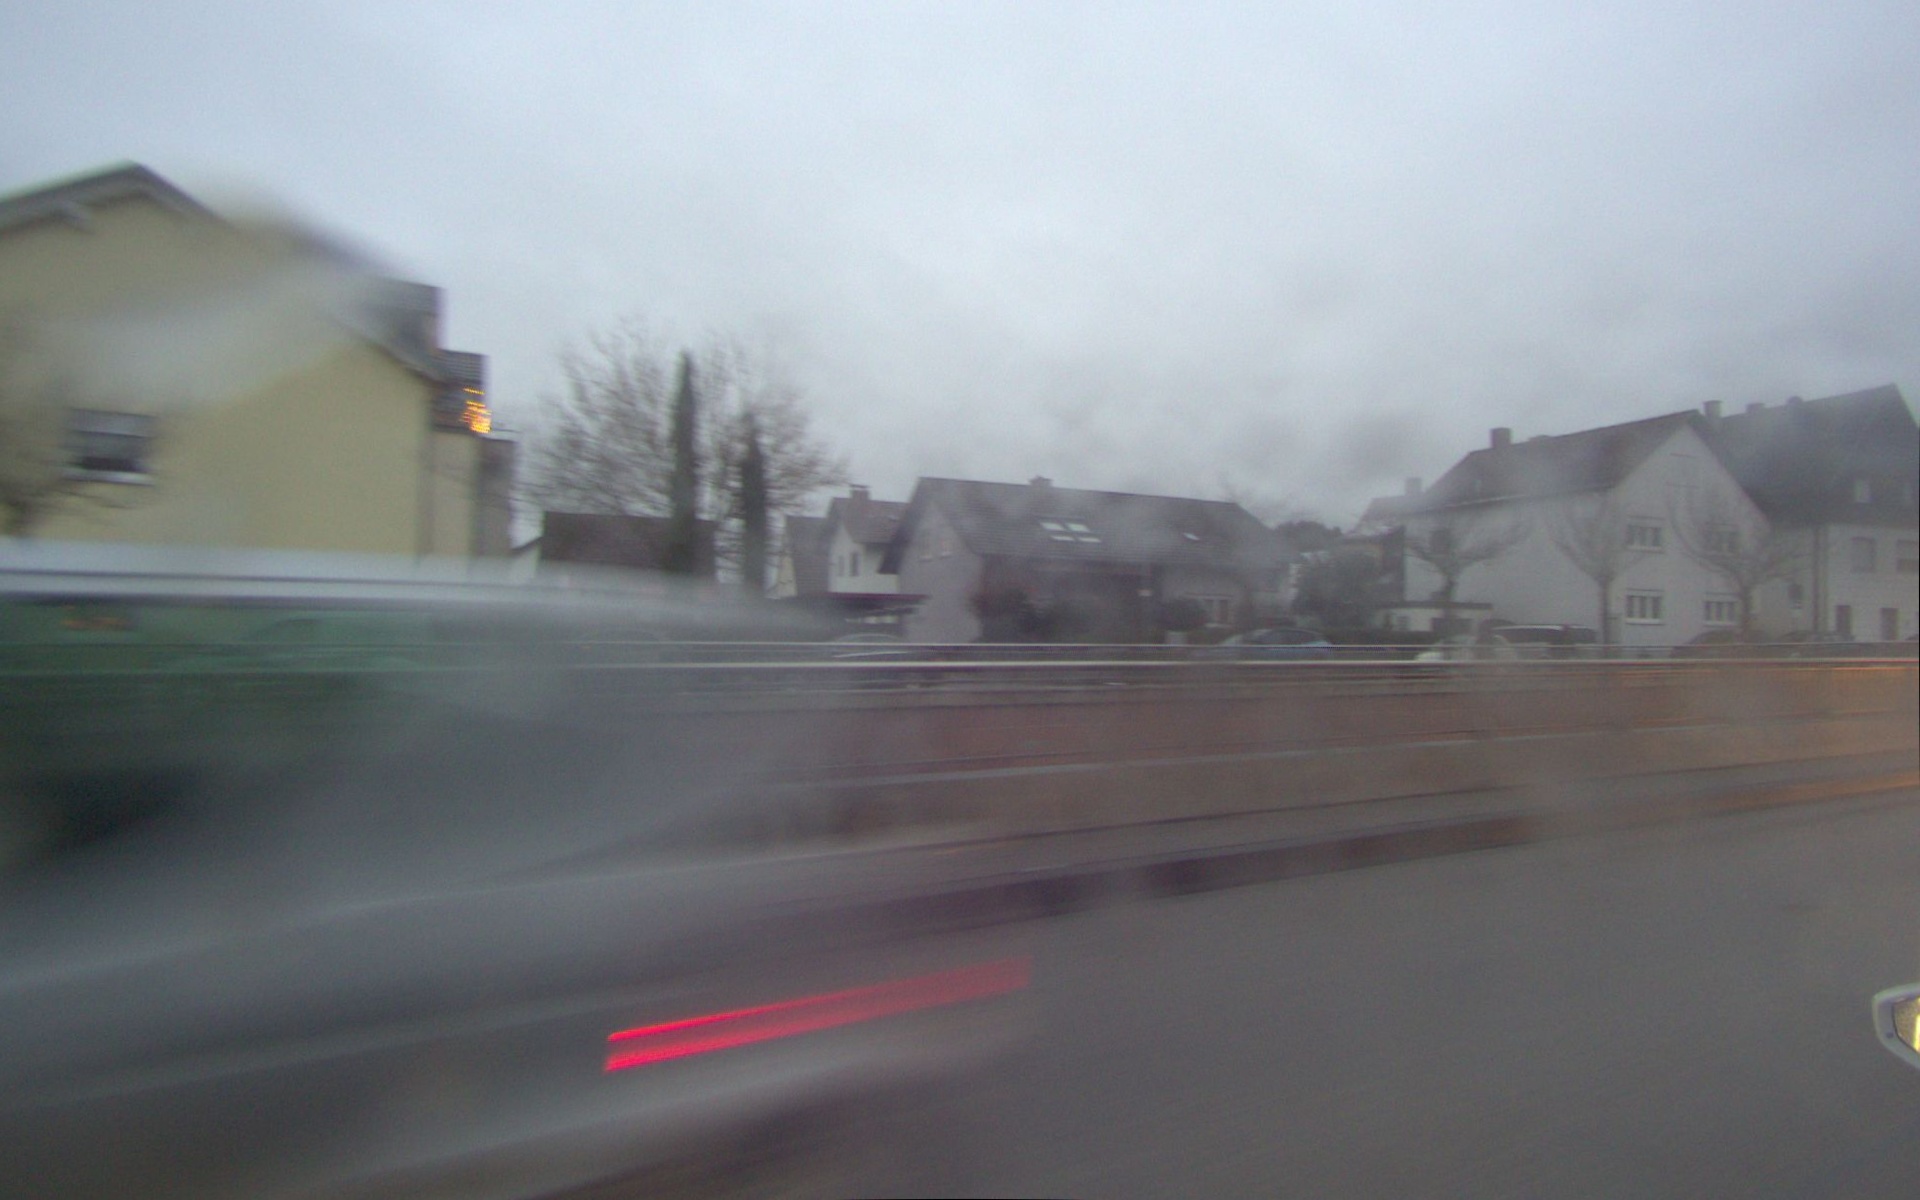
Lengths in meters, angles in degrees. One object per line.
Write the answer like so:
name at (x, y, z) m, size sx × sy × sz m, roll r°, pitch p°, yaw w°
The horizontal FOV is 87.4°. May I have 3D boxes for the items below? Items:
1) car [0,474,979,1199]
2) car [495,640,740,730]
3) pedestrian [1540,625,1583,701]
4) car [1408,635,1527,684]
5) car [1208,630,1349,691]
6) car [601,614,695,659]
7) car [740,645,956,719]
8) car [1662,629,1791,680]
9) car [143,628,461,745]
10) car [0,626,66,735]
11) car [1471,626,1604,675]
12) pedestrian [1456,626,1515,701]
car at (-1.878, 0.683, 1.766) m, size 3.511 × 1.657 × 1.654 m, roll 1°, pitch -1°, yaw -32°
car at (-6.871, 1.649, 20.227) m, size 4.445 × 1.593 × 1.867 m, roll 0°, pitch -3°, yaw -28°
pedestrian at (13.889, 1.445, 23.202) m, size 0.533 × 1.720 × 0.662 m, roll 0°, pitch -1°, yaw -21°
car at (15.763, 1.821, 31.206) m, size 3.411 × 1.446 × 1.479 m, roll 1°, pitch -2°, yaw -24°
car at (8.922, 1.699, 28.114) m, size 3.773 × 1.601 × 1.559 m, roll 2°, pitch -4°, yaw -28°
car at (-14.933, 1.729, 48.119) m, size 3.953 × 2.040 × 1.984 m, roll 2°, pitch -1°, yaw -30°
car at (-2.487, 1.775, 22.466) m, size 4.445 × 1.452 × 1.867 m, roll 0°, pitch -3°, yaw -28°
car at (27.569, 1.926, 36.134) m, size 4.158 × 1.705 × 1.906 m, roll 0°, pitch -2°, yaw -24°
car at (-11.295, 1.429, 17.644) m, size 4.448 × 1.802 × 1.866 m, roll 1°, pitch -3°, yaw -30°
car at (-16.251, 1.237, 14.867) m, size 4.175 × 1.619 × 1.866 m, roll 1°, pitch -3°, yaw -30°
car at (21.682, 1.915, 37.881) m, size 1.839 × 1.716 × 3.976 m, roll 0°, pitch -3°, yaw -25°
pedestrian at (13.077, 1.546, 25.010) m, size 0.960 × 1.808 × 0.925 m, roll 1°, pitch -1°, yaw -25°
